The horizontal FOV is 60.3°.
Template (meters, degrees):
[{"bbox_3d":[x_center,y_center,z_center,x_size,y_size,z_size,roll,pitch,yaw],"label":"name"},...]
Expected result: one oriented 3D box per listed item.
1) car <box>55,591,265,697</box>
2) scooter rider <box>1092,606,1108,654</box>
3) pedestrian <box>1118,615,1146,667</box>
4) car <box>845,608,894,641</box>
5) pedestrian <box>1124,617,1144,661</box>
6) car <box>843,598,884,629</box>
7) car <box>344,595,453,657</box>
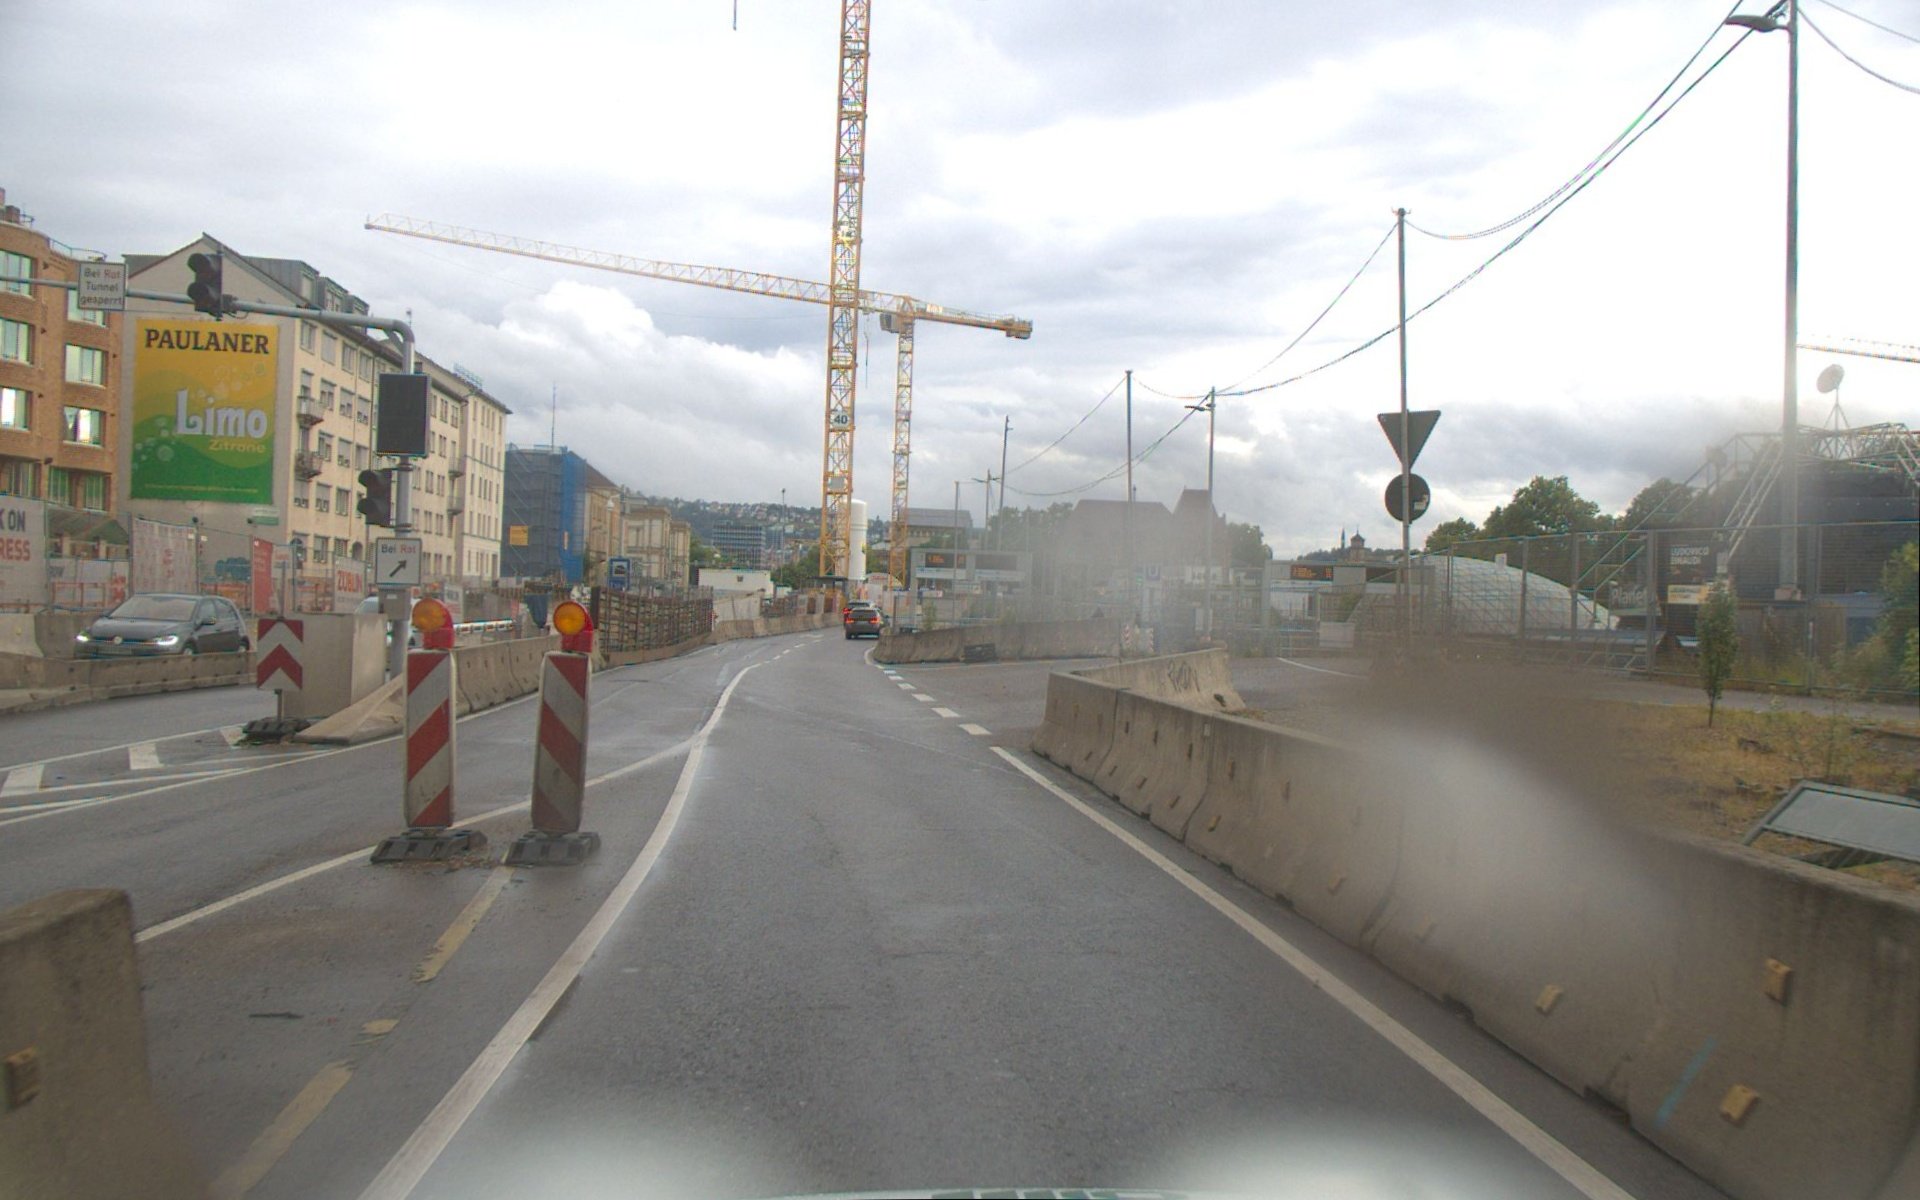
[{"bbox_3d":[-13.848,0.709,28.902,1.769,1.651,4.032,1,1,-2],"label":"car"},{"bbox_3d":[5.218,1.115,61.616,0.510,1.786,0.700,1,0,12],"label":"scooter rider"},{"bbox_3d":[6.037,1.436,57.978,0.679,1.809,0.810,1,-1,-21],"label":"pedestrian"},{"bbox_3d":[-4.253,1.161,78.459,1.824,1.458,4.657,2,-1,3],"label":"car"},{"bbox_3d":[7.314,1.639,69.707,0.676,1.809,1.022,1,-1,-3],"label":"pedestrian"},{"bbox_3d":[-5.747,0.798,98.859,1.824,1.689,4.658,2,0,4],"label":"car"},{"bbox_3d":[-15.354,0.684,45.435,1.712,1.576,4.519,1,0,-4],"label":"car"}]
